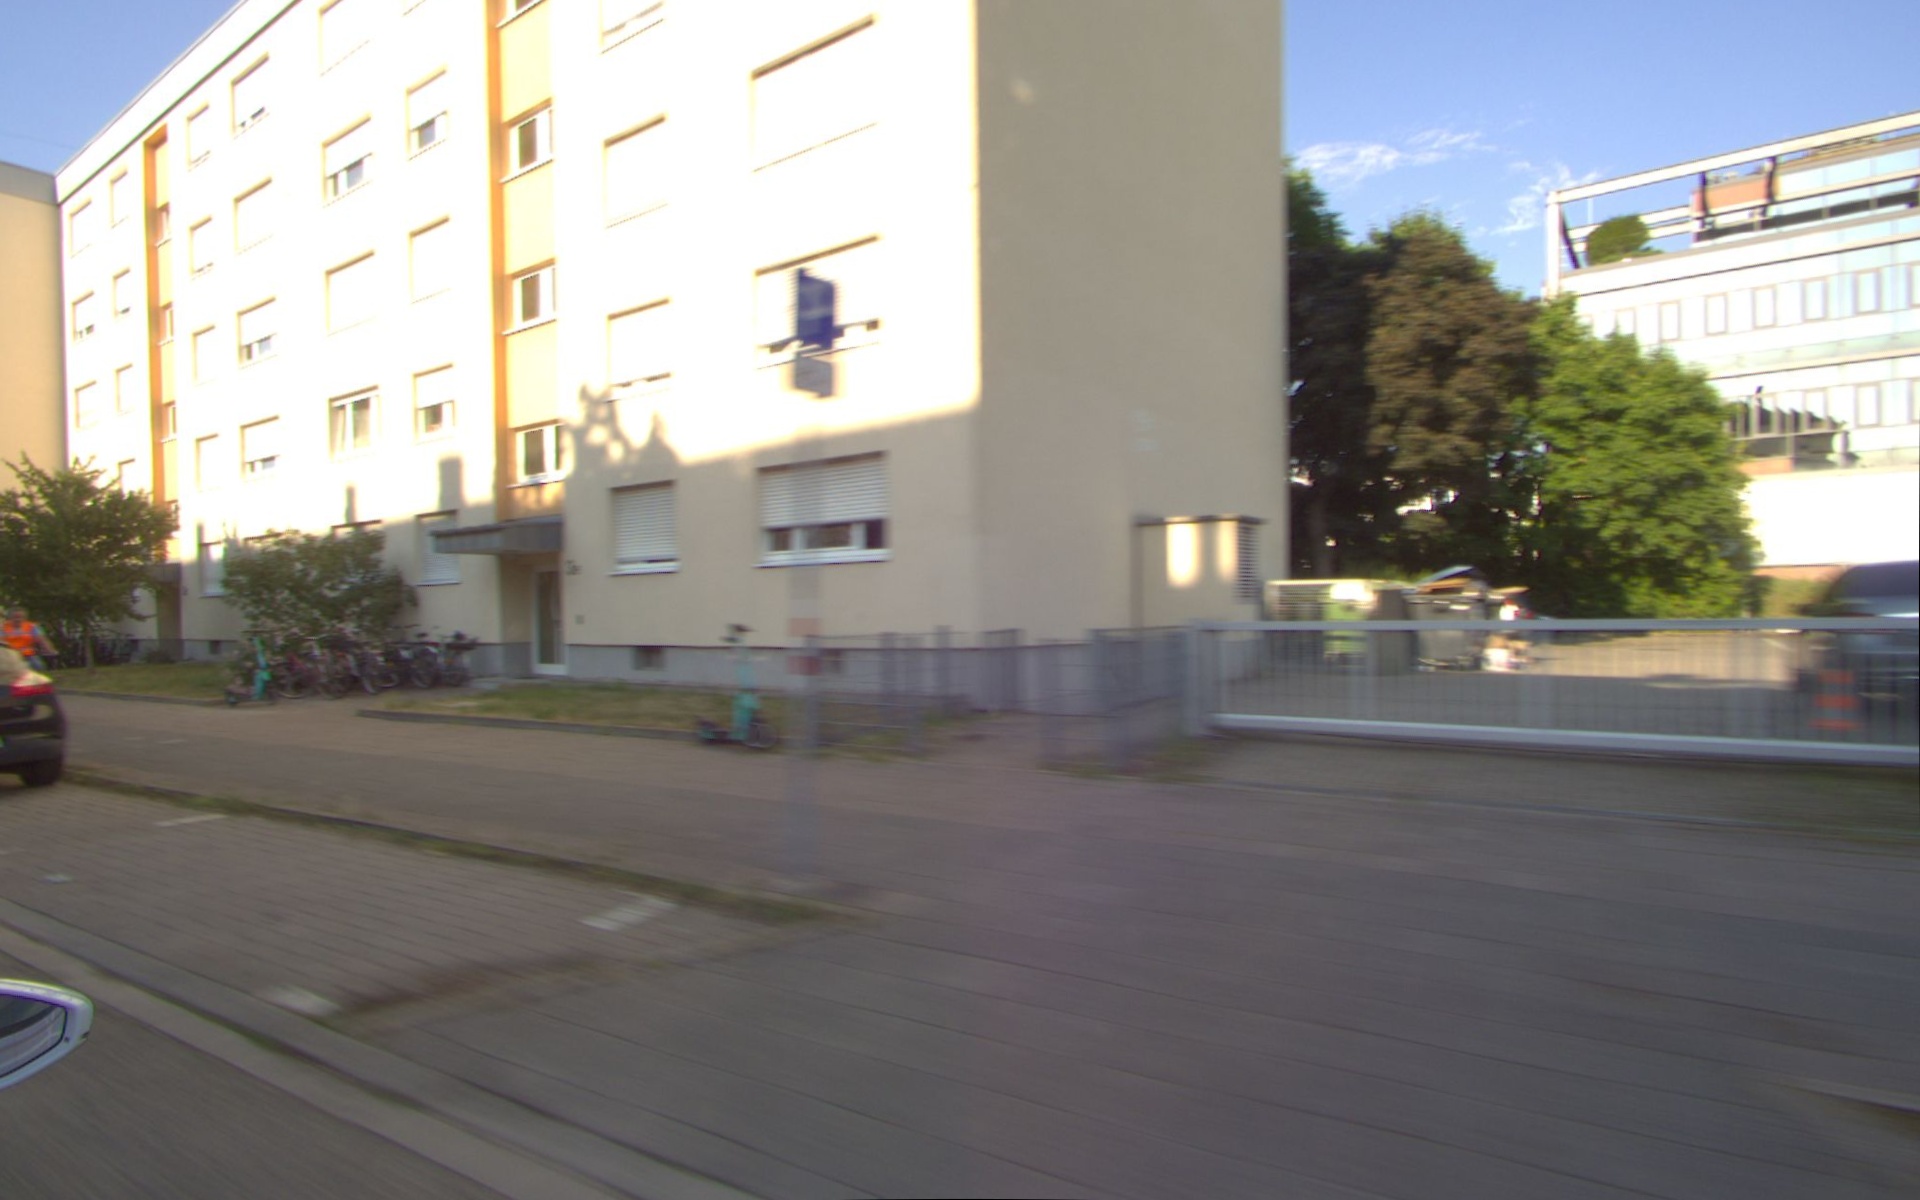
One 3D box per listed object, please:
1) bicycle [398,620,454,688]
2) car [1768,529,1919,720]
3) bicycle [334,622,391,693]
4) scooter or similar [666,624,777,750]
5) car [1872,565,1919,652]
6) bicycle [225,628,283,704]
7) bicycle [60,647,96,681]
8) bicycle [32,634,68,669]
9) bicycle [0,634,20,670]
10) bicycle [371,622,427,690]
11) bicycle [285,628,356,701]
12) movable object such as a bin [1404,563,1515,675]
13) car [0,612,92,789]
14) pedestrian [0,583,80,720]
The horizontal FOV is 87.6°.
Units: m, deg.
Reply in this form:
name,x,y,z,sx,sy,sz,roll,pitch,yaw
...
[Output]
name,x,y,z,sx,sy,sz,roll,pitch,yaw
bicycle,-9.802,0.990,18.373,1.223,1.207,0.333,-2,-2,32
car,9.580,0.185,10.205,1.709,1.622,4.463,-2,-1,35
bicycle,-10.491,1.012,17.572,1.223,1.207,0.333,-2,-2,32
scooter or similar,-2.408,0.857,10.072,1.223,1.207,0.333,-2,-2,32
car,19.810,0.225,20.014,1.709,1.621,4.467,-2,-3,35
bicycle,-11.662,1.087,16.533,1.223,1.207,0.333,-2,-3,32
bicycle,-25.207,1.819,28.604,1.769,0.953,0.436,-2,-3,38
bicycle,-25.583,1.459,28.156,1.769,0.953,0.436,-2,-3,38
bicycle,-26.193,1.420,27.369,1.769,0.953,0.436,-2,-3,38
bicycle,-10.169,1.018,18.153,1.223,1.207,0.333,-2,-2,32
bicycle,-10.806,1.082,16.921,1.219,1.207,0.334,-1,-2,20
movable object such as a bin,8.290,0.346,16.593,1.280,1.736,1.570,-2,-3,41
car,-10.418,0.952,9.591,4.554,1.527,1.796,-2,0,30
pedestrian,-13.666,0.751,14.620,1.261,1.914,0.887,-2,-3,32
